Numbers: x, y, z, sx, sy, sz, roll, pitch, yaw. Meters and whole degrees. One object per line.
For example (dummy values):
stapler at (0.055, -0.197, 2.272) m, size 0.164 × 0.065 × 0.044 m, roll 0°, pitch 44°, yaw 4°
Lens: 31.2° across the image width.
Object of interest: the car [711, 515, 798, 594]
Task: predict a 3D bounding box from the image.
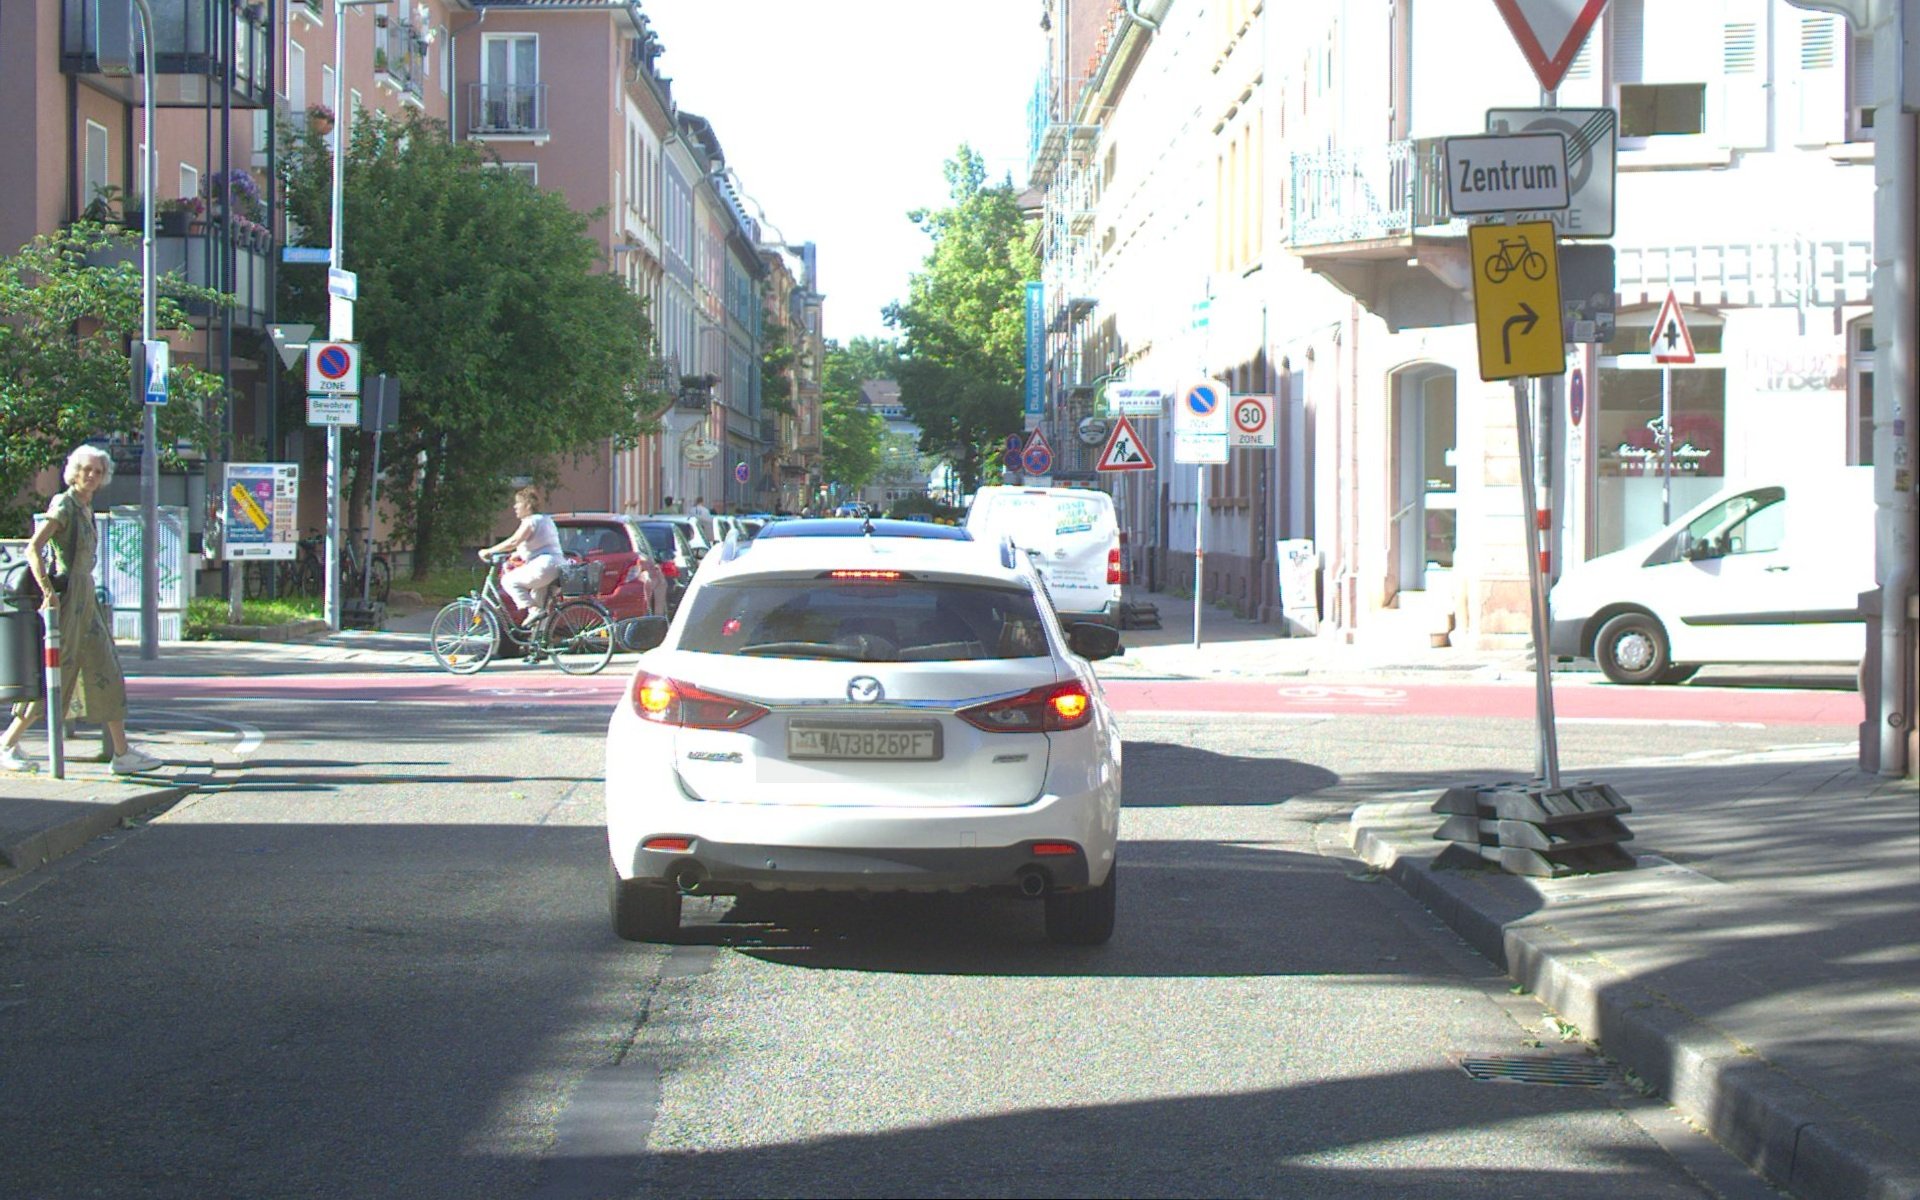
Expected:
car at (-4.178, -0.930, 70.277) m, size 1.572 × 1.580 × 3.611 m, roll 0°, pitch 1°, yaw 0°

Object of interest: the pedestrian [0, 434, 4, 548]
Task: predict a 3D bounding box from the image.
pedestrian at (-5.872, -0.028, 19.188) m, size 0.966 × 1.832 × 0.682 m, roll 2°, pitch 2°, yaw -15°

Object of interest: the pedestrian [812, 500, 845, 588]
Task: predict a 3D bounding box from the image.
pedestrian at (-2.680, -1.135, 70.262) m, size 0.647 × 1.791 × 0.639 m, roll 0°, pitch 1°, yaw 0°

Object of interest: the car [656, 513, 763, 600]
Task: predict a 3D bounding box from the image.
car at (-4.339, -0.759, 59.968) m, size 1.602 × 1.472 × 3.567 m, roll 0°, pitch 1°, yaw 0°

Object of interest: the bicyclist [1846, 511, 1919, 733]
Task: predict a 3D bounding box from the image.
bicyclist at (6.787, 0.148, 24.247) m, size 0.983 × 1.547 × 0.761 m, roll 0°, pitch 1°, yaw 10°

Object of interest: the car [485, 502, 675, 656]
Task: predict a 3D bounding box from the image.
car at (-4.153, -0.273, 38.060) m, size 1.769 × 1.583 × 3.727 m, roll 0°, pitch 2°, yaw -1°

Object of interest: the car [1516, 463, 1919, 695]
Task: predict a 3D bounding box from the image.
car at (7.526, -0.176, 30.007) m, size 4.896 × 1.922 × 1.997 m, roll 1°, pitch 0°, yaw 24°

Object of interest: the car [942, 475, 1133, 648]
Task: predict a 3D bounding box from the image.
car at (0.878, -0.488, 41.297) m, size 1.942 × 1.941 × 4.079 m, roll 1°, pitch 1°, yaw -3°

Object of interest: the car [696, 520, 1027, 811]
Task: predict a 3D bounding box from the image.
car at (-0.548, 0.290, 19.344) m, size 1.682 × 1.476 × 3.661 m, roll 0°, pitch 1°, yaw -1°

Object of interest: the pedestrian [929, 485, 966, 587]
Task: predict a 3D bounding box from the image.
pedestrian at (-0.256, -1.326, 71.275) m, size 0.771 × 2.111 × 0.835 m, roll 0°, pitch 1°, yaw 0°

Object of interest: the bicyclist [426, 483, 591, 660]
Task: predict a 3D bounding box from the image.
bicyclist at (-3.917, -0.250, 29.904) m, size 1.196 × 1.511 × 0.840 m, roll 0°, pitch 1°, yaw 15°

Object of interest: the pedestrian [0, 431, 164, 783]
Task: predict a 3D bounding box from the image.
pedestrian at (-4.743, 0.034, 18.393) m, size 0.853 × 1.809 × 0.815 m, roll 2°, pitch 0°, yaw -14°

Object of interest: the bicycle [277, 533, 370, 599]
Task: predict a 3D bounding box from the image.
bicycle at (-9.138, -0.499, 49.323) m, size 0.603 × 0.929 × 1.915 m, roll 0°, pitch 1°, yaw -34°

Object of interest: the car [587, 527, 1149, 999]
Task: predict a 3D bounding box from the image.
car at (-0.350, 0.498, 13.202) m, size 1.823 × 1.509 × 3.824 m, roll 1°, pitch 1°, yaw -1°

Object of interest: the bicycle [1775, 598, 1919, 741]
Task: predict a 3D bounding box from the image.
bicycle at (6.764, 0.488, 24.257) m, size 1.928 × 0.983 × 0.663 m, roll 0°, pitch 1°, yaw 9°

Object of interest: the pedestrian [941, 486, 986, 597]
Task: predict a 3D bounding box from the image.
pedestrian at (0.068, -1.008, 59.267) m, size 0.771 × 1.912 × 0.835 m, roll 0°, pitch 1°, yaw 0°

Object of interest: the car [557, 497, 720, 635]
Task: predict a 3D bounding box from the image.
car at (-4.038, -0.446, 43.658) m, size 1.720 × 1.677 × 3.726 m, roll 0°, pitch 1°, yaw 0°

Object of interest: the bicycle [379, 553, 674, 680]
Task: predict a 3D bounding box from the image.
bicycle at (-3.768, 0.129, 29.896) m, size 2.426 × 1.076 × 0.790 m, roll 0°, pitch 1°, yaw 15°

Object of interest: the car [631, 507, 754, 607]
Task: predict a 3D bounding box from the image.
car at (-4.324, -0.700, 55.955) m, size 1.720 × 1.571 × 3.726 m, roll 0°, pitch 1°, yaw 0°

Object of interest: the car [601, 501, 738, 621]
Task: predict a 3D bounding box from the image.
car at (-4.114, -0.561, 49.171) m, size 1.635 × 1.650 × 3.785 m, roll 0°, pitch 1°, yaw 0°
